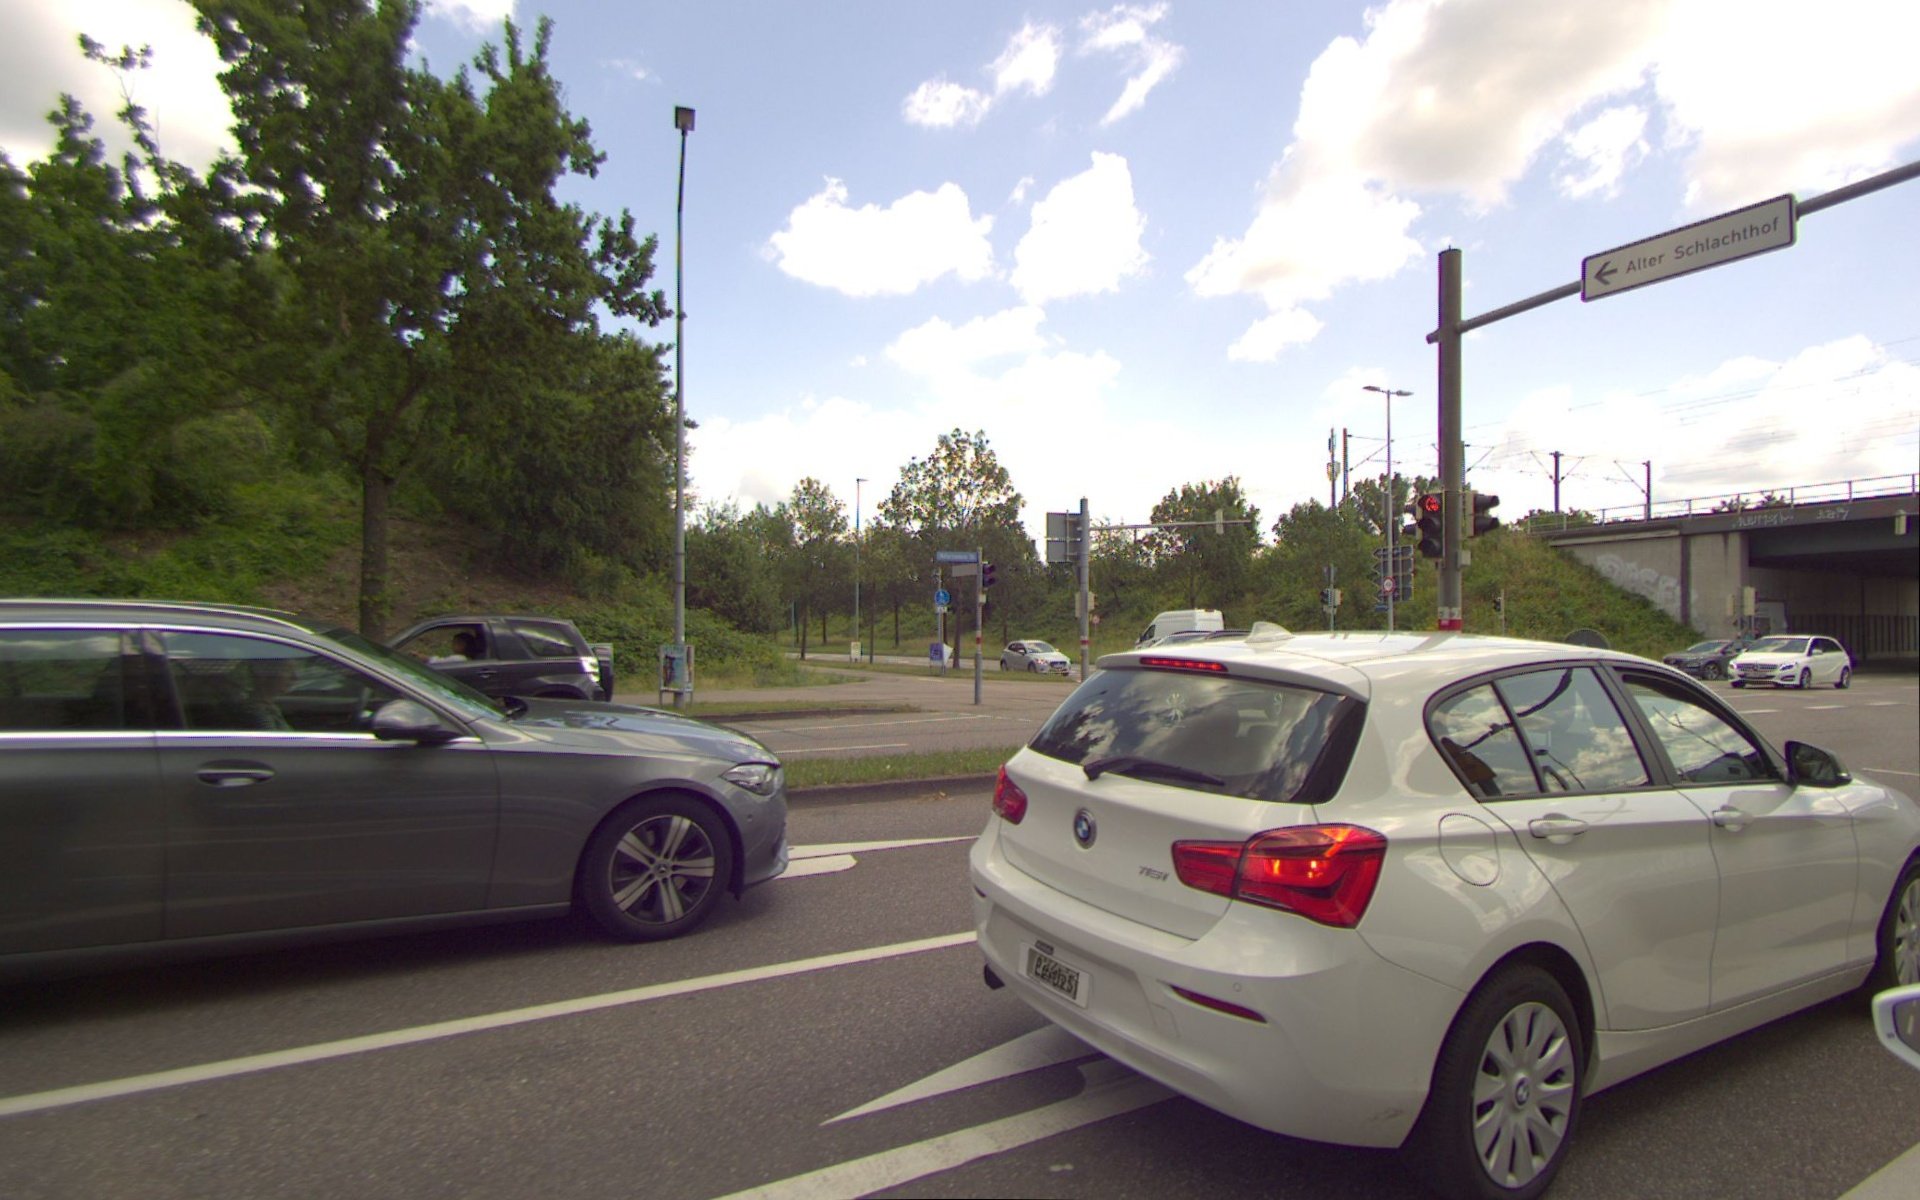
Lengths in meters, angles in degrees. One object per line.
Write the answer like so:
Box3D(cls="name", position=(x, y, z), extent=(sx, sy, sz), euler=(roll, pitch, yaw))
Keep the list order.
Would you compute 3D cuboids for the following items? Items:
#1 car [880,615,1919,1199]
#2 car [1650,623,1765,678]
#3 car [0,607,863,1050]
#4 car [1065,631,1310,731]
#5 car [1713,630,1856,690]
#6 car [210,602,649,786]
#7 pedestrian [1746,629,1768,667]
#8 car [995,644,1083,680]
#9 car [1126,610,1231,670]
Box3D(cls="car", position=(2.019, 0.824, 3.913), extent=(4.245, 1.434, 1.906), euler=(1, 1, -30))
Box3D(cls="car", position=(28.659, 1.912, 38.498), extent=(3.949, 2.040, 1.986), euler=(1, -2, -27))
Box3D(cls="car", position=(-3.013, 0.760, 4.465), extent=(4.775, 1.434, 1.984), euler=(1, -1, -30))
Box3D(cls="car", position=(4.055, 1.367, 17.880), extent=(3.948, 1.550, 1.919), euler=(1, 0, -26))
Box3D(cls="car", position=(24.403, 1.737, 29.700), extent=(4.339, 1.653, 1.798), euler=(1, -2, -29))
Box3D(cls="car", position=(-5.984, 0.988, 11.702), extent=(4.171, 1.789, 1.984), euler=(1, -3, -31))
Box3D(cls="pedestrian", position=(36.426, 2.187, 45.907), extent=(0.550, 1.703, 0.587), euler=(1, -2, -32))
Box3D(cls="car", position=(3.274, 2.581, 42.481), extent=(1.972, 1.397, 4.300), euler=(1, -2, -23))
Box3D(cls="car", position=(11.127, 2.056, 51.524), extent=(2.357, 2.859, 5.377), euler=(1, -3, -28))
